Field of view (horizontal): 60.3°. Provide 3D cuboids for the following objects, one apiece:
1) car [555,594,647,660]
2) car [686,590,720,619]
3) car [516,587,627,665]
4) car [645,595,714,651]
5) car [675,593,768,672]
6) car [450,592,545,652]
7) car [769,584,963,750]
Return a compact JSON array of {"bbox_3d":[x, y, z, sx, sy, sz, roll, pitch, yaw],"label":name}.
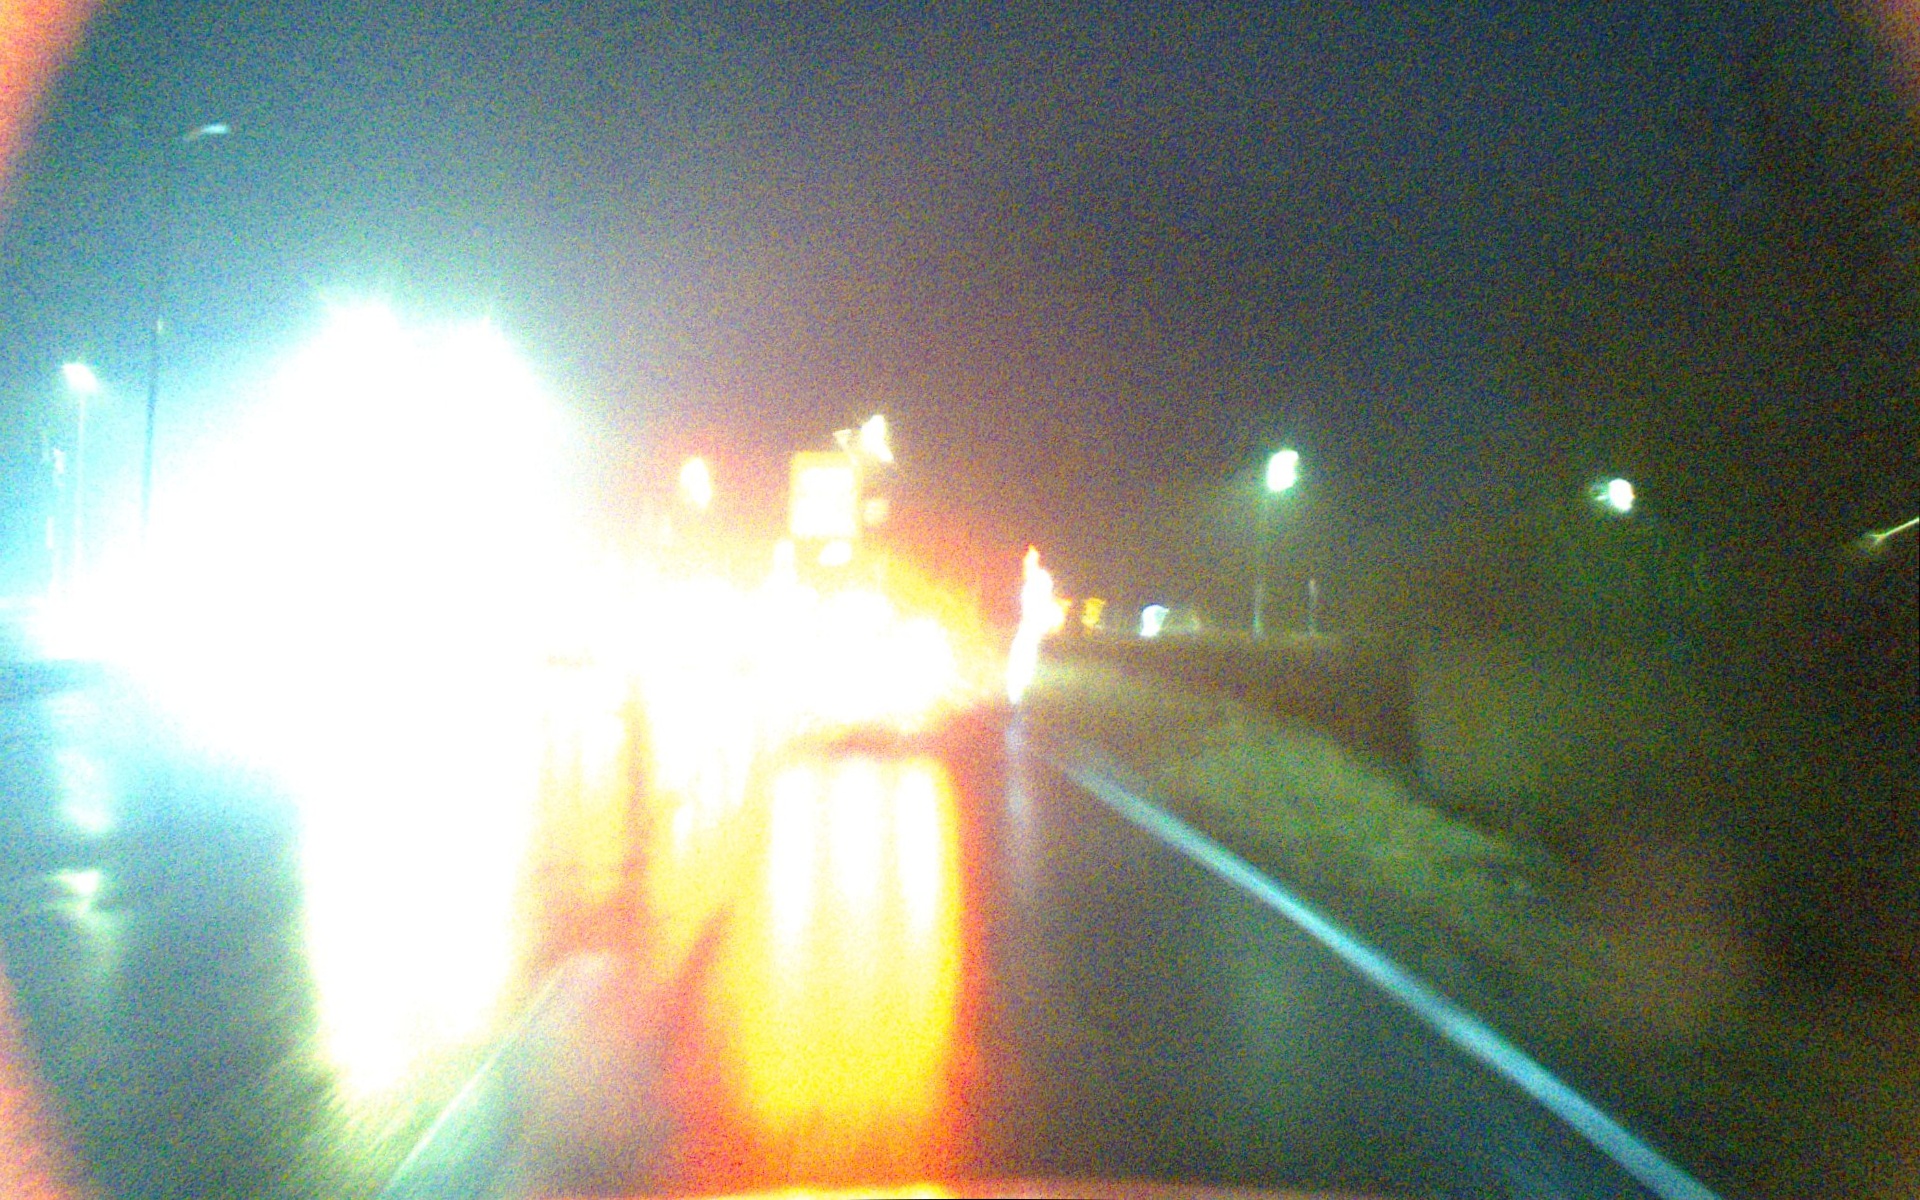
[{"bbox_3d":[-9.808,0.696,45.510,1.955,1.656,4.977,-1,1,-7],"label":"car"},{"bbox_3d":[-15.480,0.234,99.476,1.957,1.656,4.974,-1,1,-9],"label":"car"},{"bbox_3d":[-8.988,0.541,38.655,1.955,1.656,4.977,-1,1,-7],"label":"car"},{"bbox_3d":[-9.053,0.716,53.695,1.955,1.656,4.977,-1,1,-7],"label":"car"},{"bbox_3d":[-5.453,0.686,38.283,1.955,1.656,4.977,-1,1,-7],"label":"car"},{"bbox_3d":[-13.786,0.609,49.586,1.955,1.656,4.977,-1,1,-7],"label":"car"},{"bbox_3d":[-1.034,0.740,19.575,1.953,1.656,4.982,2,-1,-2],"label":"car"}]
